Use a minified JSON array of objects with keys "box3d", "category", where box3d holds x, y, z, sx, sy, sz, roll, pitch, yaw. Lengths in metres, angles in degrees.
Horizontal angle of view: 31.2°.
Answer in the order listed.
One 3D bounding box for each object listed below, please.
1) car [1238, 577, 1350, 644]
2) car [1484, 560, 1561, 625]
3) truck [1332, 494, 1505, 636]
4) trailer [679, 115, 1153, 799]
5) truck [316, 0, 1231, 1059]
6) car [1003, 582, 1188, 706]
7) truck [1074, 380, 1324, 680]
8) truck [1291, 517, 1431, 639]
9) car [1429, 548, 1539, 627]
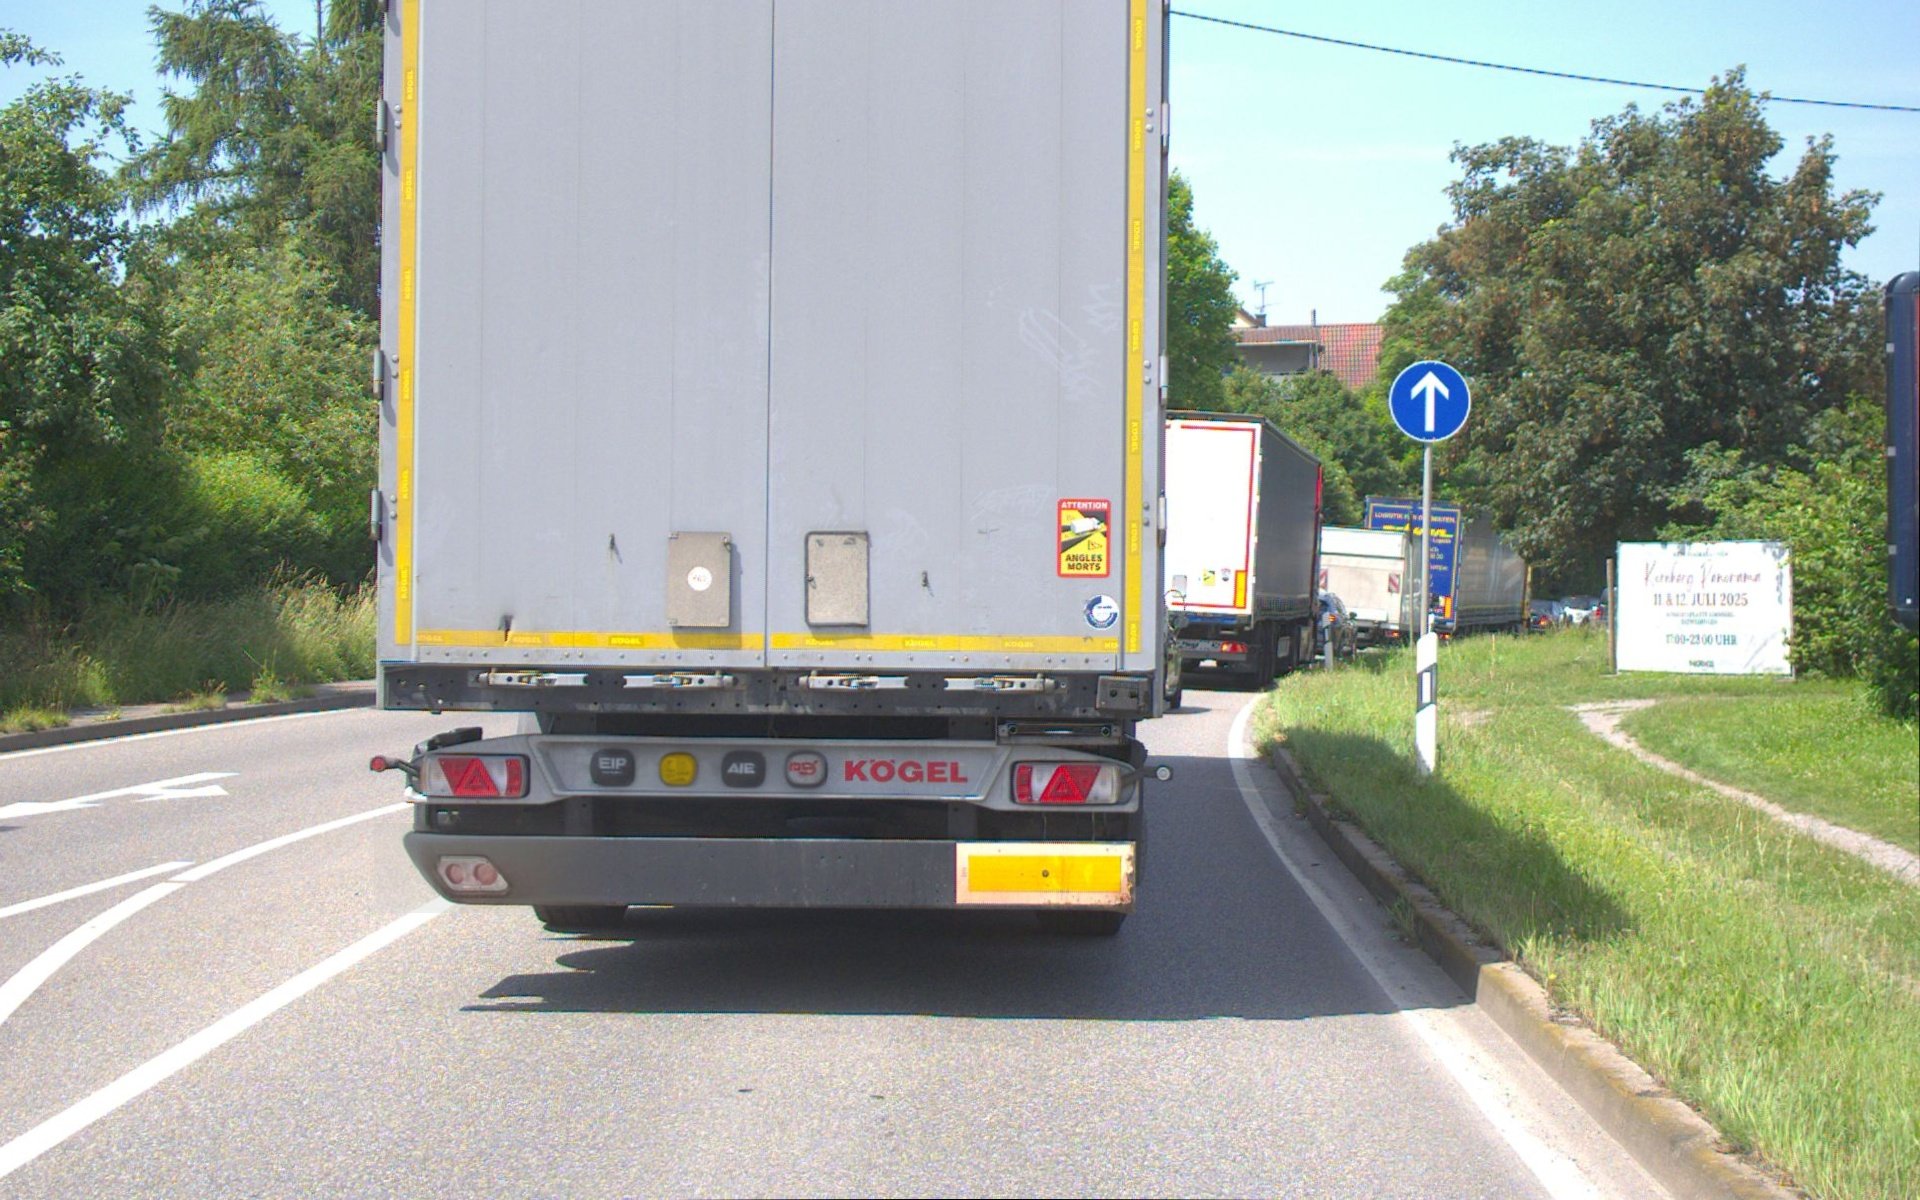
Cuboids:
[{"box3d":[7.297,0.224,74.851,1.994,1.371,3.998,1,0,11],"category":"car"},{"box3d":[18.054,-0.240,110.268,1.995,2.007,3.997,1,0,15],"category":"car"},{"box3d":[12.478,-0.987,92.831,3.435,3.592,9.347,1,1,15],"category":"truck"},{"box3d":[-0.144,-0.917,23.945,2.825,4.097,6.544,0,1,2],"category":"trailer"},{"box3d":[-0.404,-0.744,16.471,2.822,4.113,11.443,1,1,2],"category":"truck"},{"box3d":[1.625,0.491,39.965,1.819,1.342,3.846,1,0,7],"category":"car"},{"box3d":[4.279,-1.000,57.448,2.761,4.274,16.409,1,0,9],"category":"truck"},{"box3d":[9.677,-0.506,82.497,2.545,2.793,6.028,1,0,14],"category":"truck"},{"box3d":[15.888,-0.421,104.005,2.533,2.269,6.376,1,1,15],"category":"car"}]
